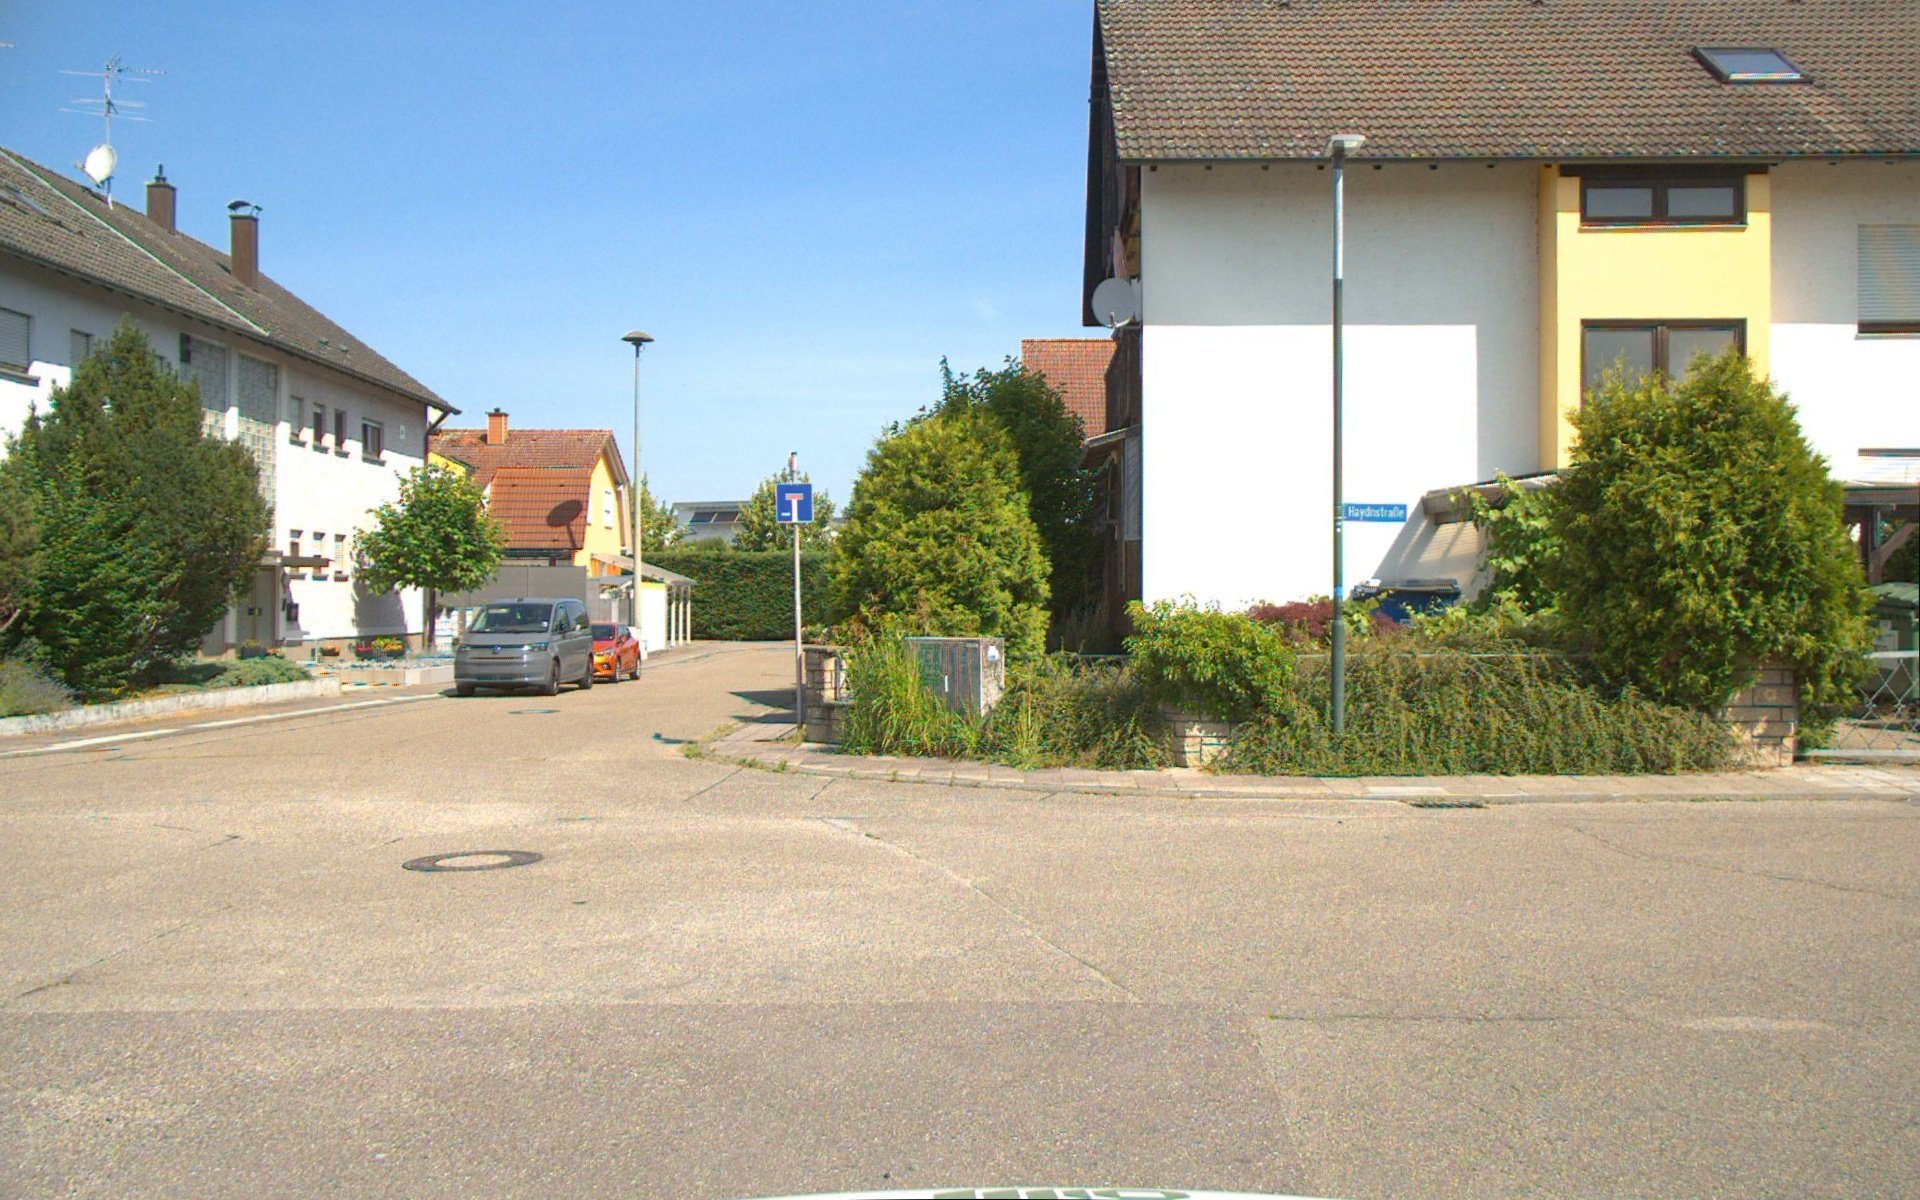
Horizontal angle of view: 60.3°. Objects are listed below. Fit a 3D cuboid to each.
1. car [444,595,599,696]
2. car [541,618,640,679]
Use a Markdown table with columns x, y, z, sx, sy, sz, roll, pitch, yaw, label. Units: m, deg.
| x | y | z | sx | sy | sz | roll | pitch | yaw | label |
| --- | --- | --- | --- | --- | --- | --- | --- | --- | --- |
| -8.778 | 0.870 | 33.521 | 1.861 | 1.902 | 4.372 | 0 | 0 | 2 | car |
| -8.893 | 1.138 | 40.111 | 1.618 | 1.389 | 3.778 | 0 | -1 | -1 | car |
